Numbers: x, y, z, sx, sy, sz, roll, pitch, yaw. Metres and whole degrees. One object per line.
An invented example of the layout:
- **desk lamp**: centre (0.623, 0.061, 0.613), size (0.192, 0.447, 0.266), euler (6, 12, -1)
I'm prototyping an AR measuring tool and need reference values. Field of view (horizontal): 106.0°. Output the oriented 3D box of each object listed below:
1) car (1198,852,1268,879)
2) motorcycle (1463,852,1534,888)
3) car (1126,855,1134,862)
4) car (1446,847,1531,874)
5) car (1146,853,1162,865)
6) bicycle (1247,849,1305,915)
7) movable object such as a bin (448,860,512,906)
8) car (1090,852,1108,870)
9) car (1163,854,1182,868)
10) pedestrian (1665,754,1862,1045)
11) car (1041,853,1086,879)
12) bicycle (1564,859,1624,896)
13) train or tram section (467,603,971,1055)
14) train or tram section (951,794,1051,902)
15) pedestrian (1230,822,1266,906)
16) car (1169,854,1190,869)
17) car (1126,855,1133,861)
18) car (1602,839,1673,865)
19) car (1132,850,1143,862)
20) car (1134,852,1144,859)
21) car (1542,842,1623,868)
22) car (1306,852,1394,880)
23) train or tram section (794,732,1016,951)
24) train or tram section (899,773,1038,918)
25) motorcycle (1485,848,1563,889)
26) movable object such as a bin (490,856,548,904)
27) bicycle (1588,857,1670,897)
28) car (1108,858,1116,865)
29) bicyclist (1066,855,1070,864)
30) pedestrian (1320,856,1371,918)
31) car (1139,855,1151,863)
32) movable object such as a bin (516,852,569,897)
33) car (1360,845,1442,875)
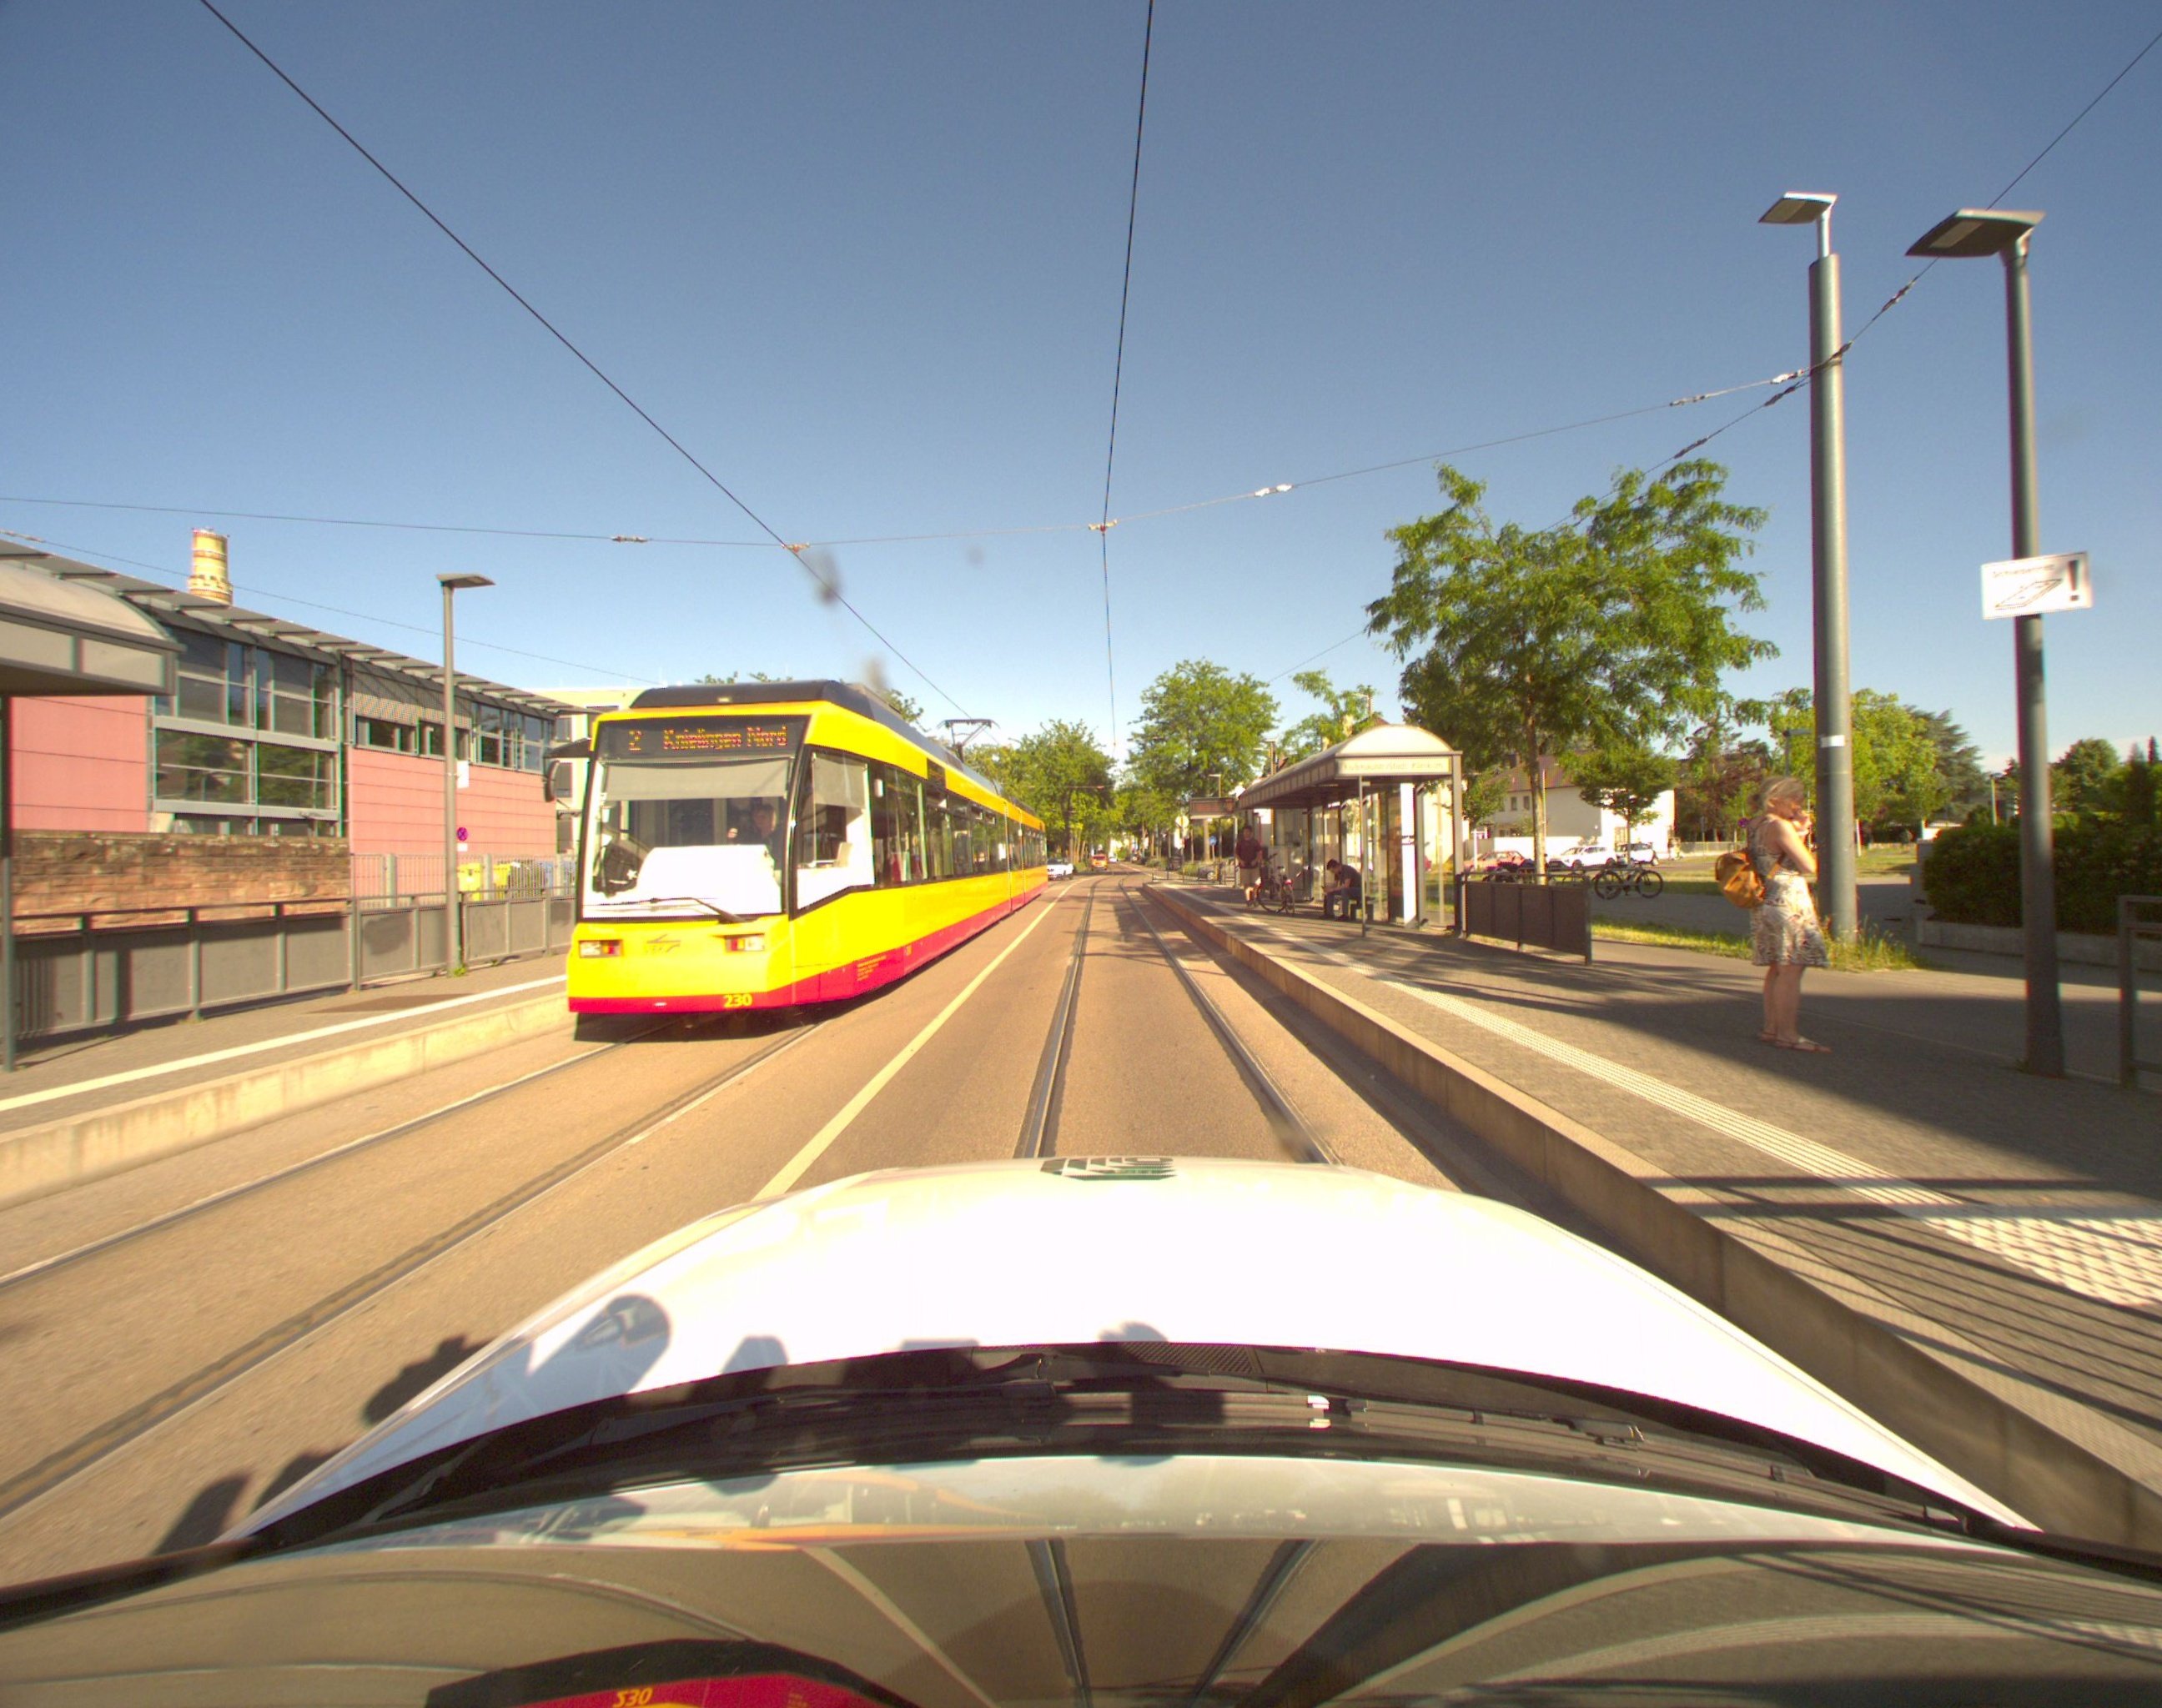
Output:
- **car**: centre (9.020, 0.686, 48.361), size (3.961, 1.508, 1.988), euler (-1, 0, 11)
- **motorcycle**: centre (14.303, 0.548, 27.935), size (1.995, 1.158, 0.860), euler (-1, 0, -6)
- **car**: centre (12.939, 1.224, 215.668), size (1.996, 1.675, 4.393), euler (-3, 0, 1)
- **car**: centre (24.495, 0.374, 49.026), size (4.151, 1.508, 1.981), euler (-1, 0, -1)
- **car**: centre (11.339, 0.755, 125.989), size (1.987, 1.704, 4.477), euler (-4, 0, 0)
- **bicycle**: centre (3.884, 0.528, 16.366), size (0.618, 1.229, 1.965), euler (0, 0, -2)
- **movable object such as a bin**: centre (-17.642, 0.845, 23.953), size (0.878, 1.285, 1.309), euler (-1, 0, 0)
- **car**: centre (2.118, 0.824, 97.801), size (1.988, 1.966, 4.931), euler (-1, 0, -1)
- **car**: centre (10.435, 0.817, 93.260), size (1.742, 1.495, 3.997), euler (-2, 0, 1)
- **pedestrian**: centre (4.257, 0.267, 5.128), size (0.669, 1.704, 0.690), euler (0, 0, 0)
- **car**: centre (-1.180, 0.811, 56.294), size (1.750, 1.663, 4.230), euler (-2, 0, 18)
- **bicycle**: centre (14.403, 0.649, 22.890), size (1.468, 0.979, 0.415), euler (-1, 0, -6)
- **train or tram section**: centre (-3.262, -0.193, 9.640), size (2.793, 3.459, 6.670), euler (-1, 0, 1)
- **train or tram section**: centre (-2.710, -0.201, 29.733), size (2.793, 3.459, 6.670), euler (-1, 0, 1)
- **pedestrian**: centre (3.763, 0.224, 18.383), size (0.708, 1.853, 0.729), euler (0, 0, 3)
- **car**: centre (10.512, 0.818, 87.385), size (1.742, 1.495, 4.444), euler (-2, 0, 1)
- **car**: centre (13.911, 1.078, 233.183), size (1.993, 1.675, 4.398), euler (-3, 0, 5)
- **car**: centre (35.398, -0.121, 51.797), size (4.006, 1.574, 1.984), euler (0, 0, -25)
- **car**: centre (12.655, 0.516, 183.366), size (2.237, 2.654, 5.586), euler (-1, 0, 1)
- **car**: centre (11.544, 0.314, 162.019), size (1.621, 1.397, 3.646), euler (-4, 0, 1)
- **car**: centre (30.761, 0.031, 49.967), size (4.171, 1.508, 1.971), euler (-1, 0, -16)
- **car**: centre (15.297, 0.728, 46.544), size (4.570, 1.466, 1.989), euler (-2, -2, 14)
- **train or tram section**: centre (-3.081, -0.202, 16.338), size (2.793, 3.459, 6.670), euler (-1, 0, 1)
- **train or tram section**: centre (-2.900, -0.203, 23.037), size (2.793, 3.459, 6.670), euler (-1, 0, 1)
- **motorcycle**: centre (14.324, 0.461, 26.372), size (2.074, 1.274, 0.860), euler (-1, 0, -6)
- **movable object such as a bin**: centre (-17.785, 0.814, 25.815), size (0.878, 1.447, 1.309), euler (-1, 0, 0)
- **bicycle**: centre (14.434, 0.605, 21.465), size (1.895, 0.979, 0.490), euler (-1, 0, -6)
- **car**: centre (7.703, 1.822, 201.989), size (1.861, 1.675, 4.170), euler (-2, 0, -1)
- **bicyclist**: centre (-2.175, 0.915, 134.967), size (0.591, 1.527, 1.061), euler (-1, 0, 2)
- **pedestrian**: centre (4.870, 0.599, 15.018), size (0.735, 1.117, 0.658), euler (0, 0, 0)
- **car**: centre (12.046, 0.957, 152.460), size (1.778, 1.448, 4.300), euler (-4, 0, 0)
- **movable object such as a bin**: centre (-17.990, 0.673, 27.253), size (0.878, 1.447, 1.309), euler (-1, 0, 0)
- **car**: centre (19.043, 0.352, 48.584), size (4.150, 1.642, 1.981), euler (-1, 0, -1)
